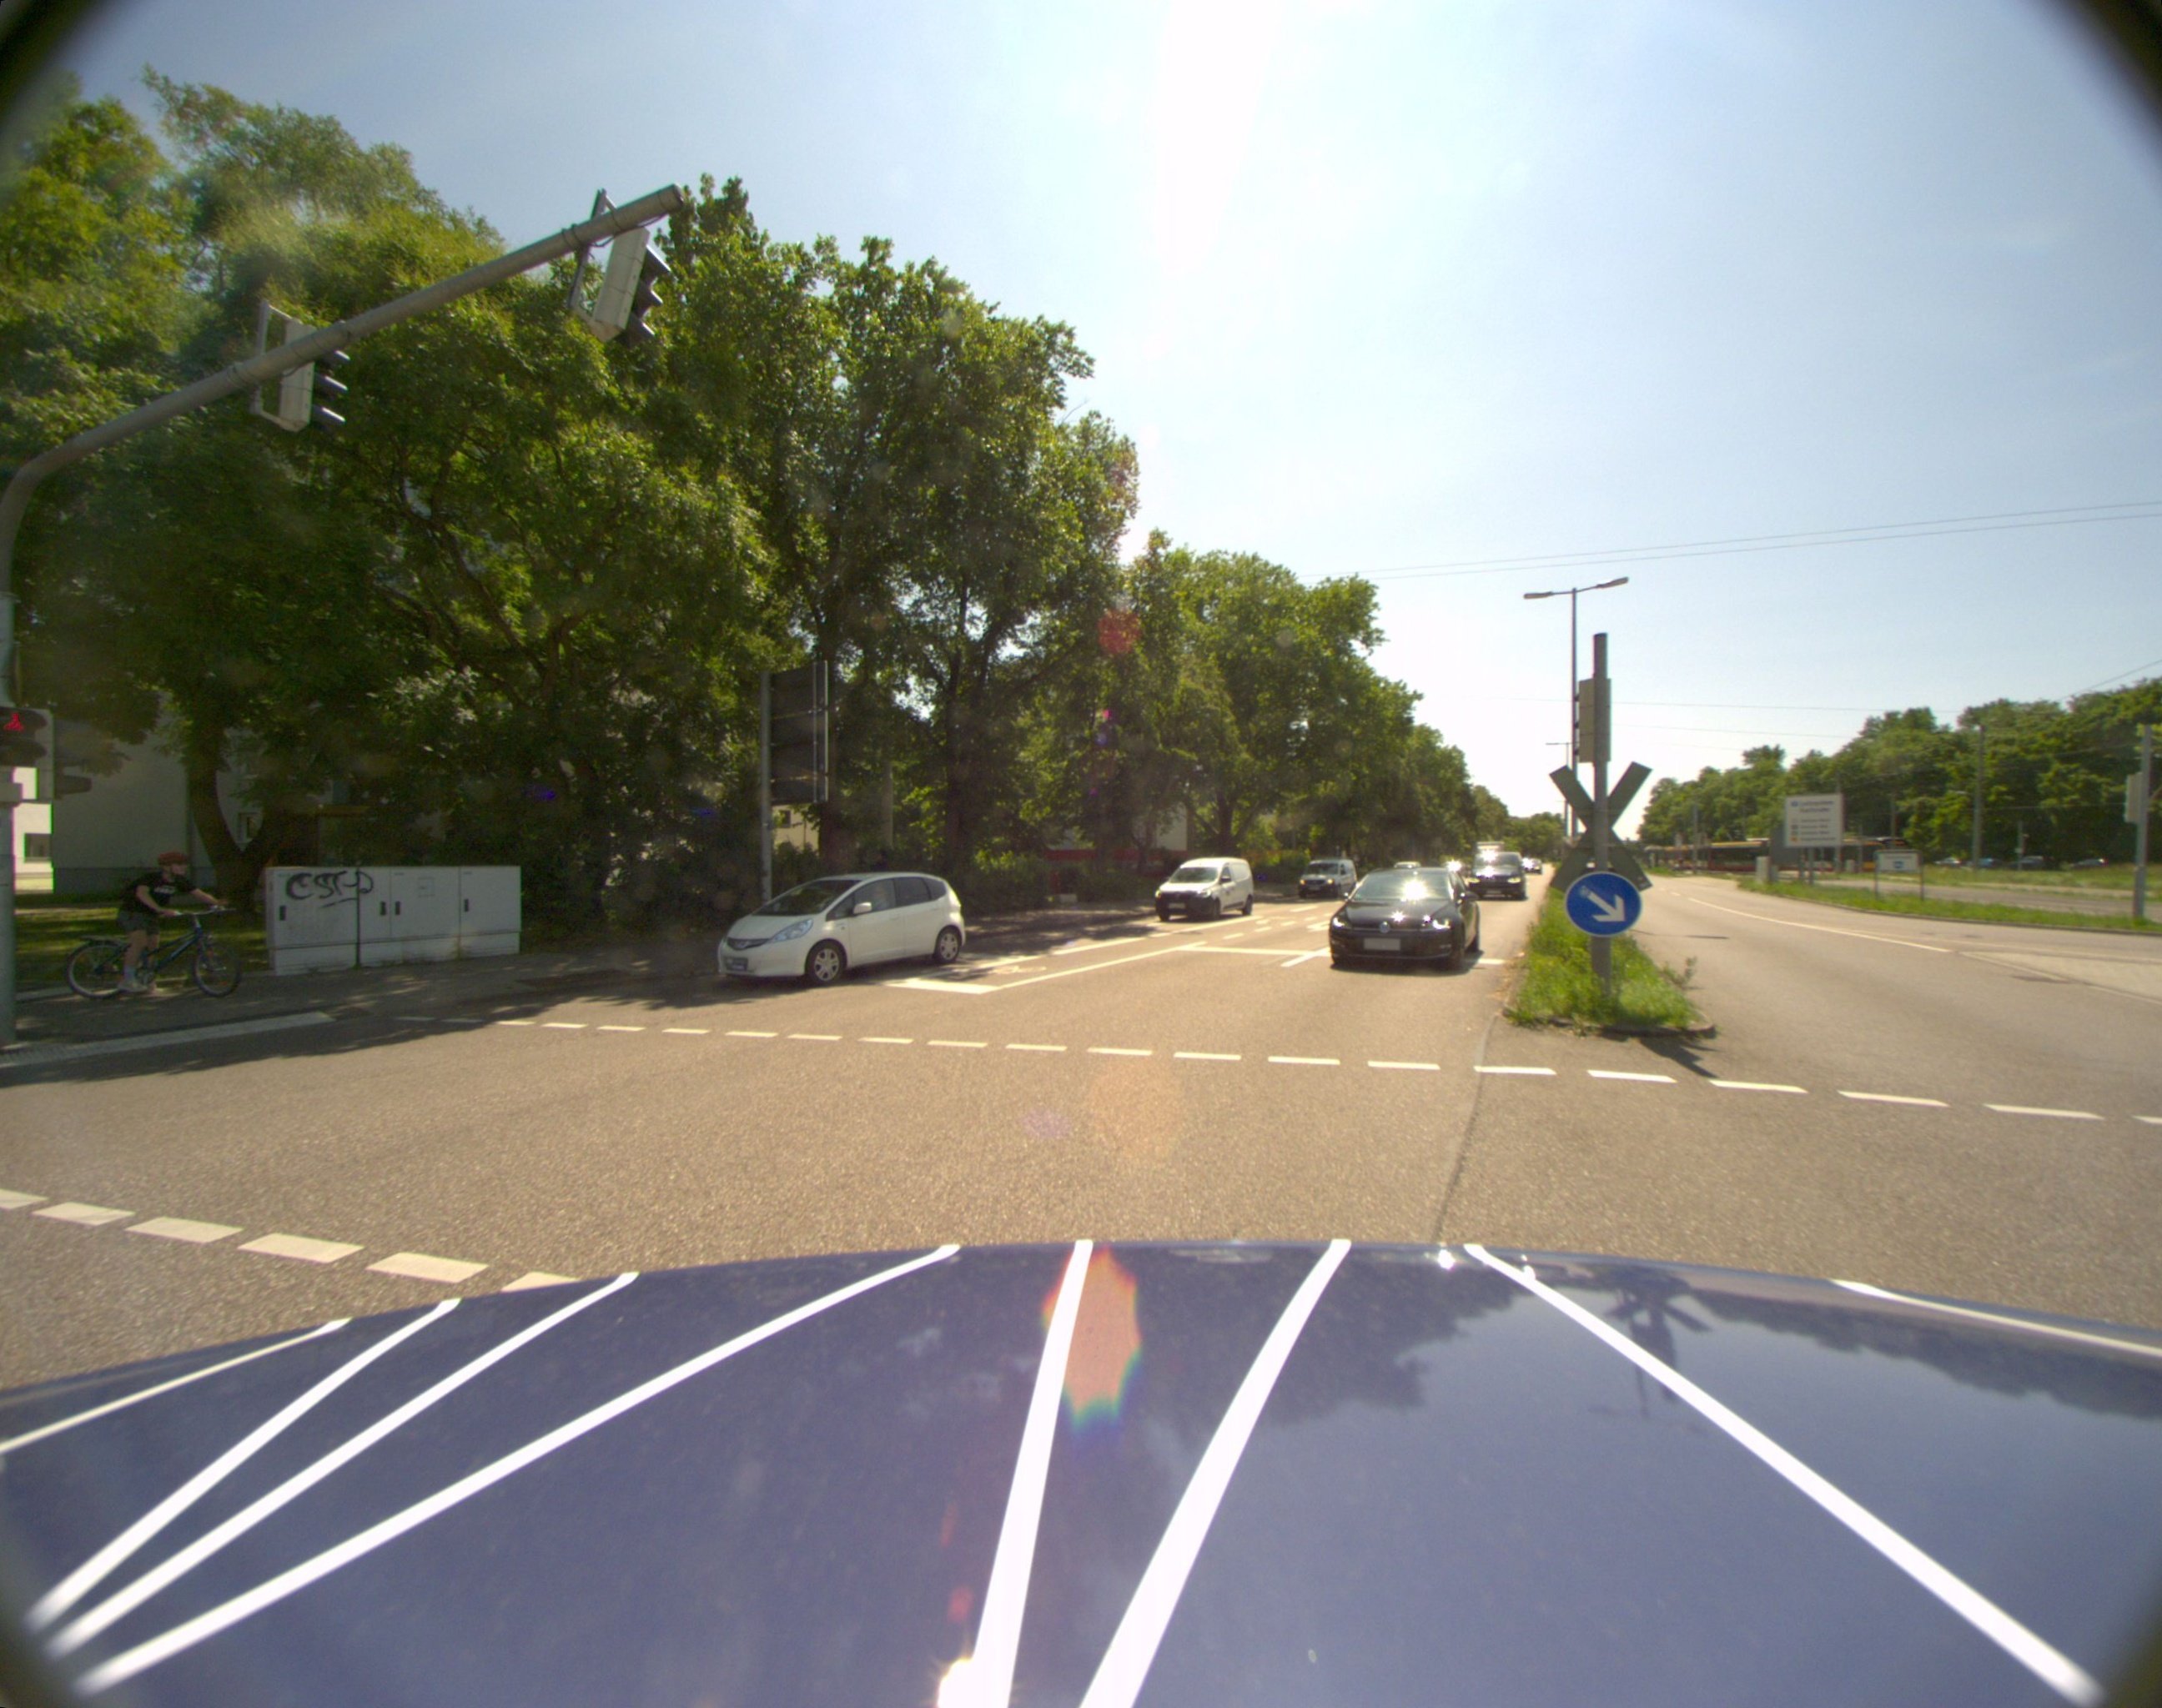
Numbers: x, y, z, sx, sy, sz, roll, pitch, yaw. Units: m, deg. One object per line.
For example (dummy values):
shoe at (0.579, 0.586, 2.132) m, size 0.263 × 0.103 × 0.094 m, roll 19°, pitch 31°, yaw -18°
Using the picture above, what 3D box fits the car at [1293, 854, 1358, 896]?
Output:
car at (11.538, 0.958, 35.721) m, size 1.892 × 1.782 × 4.401 m, roll -3°, pitch -1°, yaw 31°

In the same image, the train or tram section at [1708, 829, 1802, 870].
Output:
train or tram section at (75.383, -0.416, 85.458) m, size 3.019 × 4.229 × 12.769 m, roll -1°, pitch -1°, yaw 18°

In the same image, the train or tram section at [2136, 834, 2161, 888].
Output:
train or tram section at (78.015, 0.390, 48.918) m, size 3.030 × 3.736 × 11.418 m, roll 0°, pitch -1°, yaw -27°

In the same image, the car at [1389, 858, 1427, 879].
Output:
car at (23.139, 1.020, 53.715) m, size 1.844 × 1.417 × 4.223 m, roll -1°, pitch 0°, yaw 32°

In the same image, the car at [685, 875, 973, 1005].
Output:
car at (-3.544, 1.117, 11.390) m, size 1.727 × 1.496 × 3.906 m, roll -1°, pitch -1°, yaw 30°

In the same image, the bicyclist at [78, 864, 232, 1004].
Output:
bicyclist at (-10.679, 0.905, 8.799) m, size 0.910 × 1.535 × 0.647 m, roll 2°, pitch 1°, yaw -13°

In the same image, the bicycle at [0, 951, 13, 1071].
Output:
bicycle at (-10.408, 1.378, 6.322) m, size 1.807 × 1.057 × 0.615 m, roll 2°, pitch 1°, yaw -13°

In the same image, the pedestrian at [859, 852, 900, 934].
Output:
pedestrian at (-4.603, 0.876, 17.356) m, size 0.606 × 1.825 × 0.680 m, roll 1°, pitch 1°, yaw 30°

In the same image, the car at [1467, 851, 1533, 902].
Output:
car at (17.279, 0.833, 31.215) m, size 1.937 × 1.920 × 4.856 m, roll 0°, pitch 1°, yaw 34°

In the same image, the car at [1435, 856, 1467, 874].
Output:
car at (30.864, 0.930, 63.336) m, size 1.844 × 1.417 × 4.223 m, roll -1°, pitch 0°, yaw 33°

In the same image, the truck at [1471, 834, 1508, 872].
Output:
truck at (41.314, -0.115, 76.740) m, size 2.581 × 3.511 × 7.727 m, roll -3°, pitch -1°, yaw 32°

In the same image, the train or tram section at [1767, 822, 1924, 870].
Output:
train or tram section at (73.174, -0.568, 73.388) m, size 3.023 × 4.229 × 12.756 m, roll -1°, pitch -1°, yaw 4°

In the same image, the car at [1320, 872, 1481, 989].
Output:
car at (5.078, 1.013, 11.747) m, size 1.705 × 1.396 × 4.062 m, roll -1°, pitch 0°, yaw 31°

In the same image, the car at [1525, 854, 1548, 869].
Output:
car at (43.426, 0.720, 72.464) m, size 1.742 × 1.279 × 4.008 m, roll -3°, pitch -1°, yaw 30°

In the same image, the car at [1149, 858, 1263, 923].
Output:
car at (3.850, 1.025, 22.802) m, size 1.806 × 1.707 × 4.352 m, roll -1°, pitch 0°, yaw 32°

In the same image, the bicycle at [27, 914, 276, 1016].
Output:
bicycle at (-10.670, 1.268, 8.789) m, size 1.807 × 1.057 × 0.615 m, roll 2°, pitch 1°, yaw -13°
